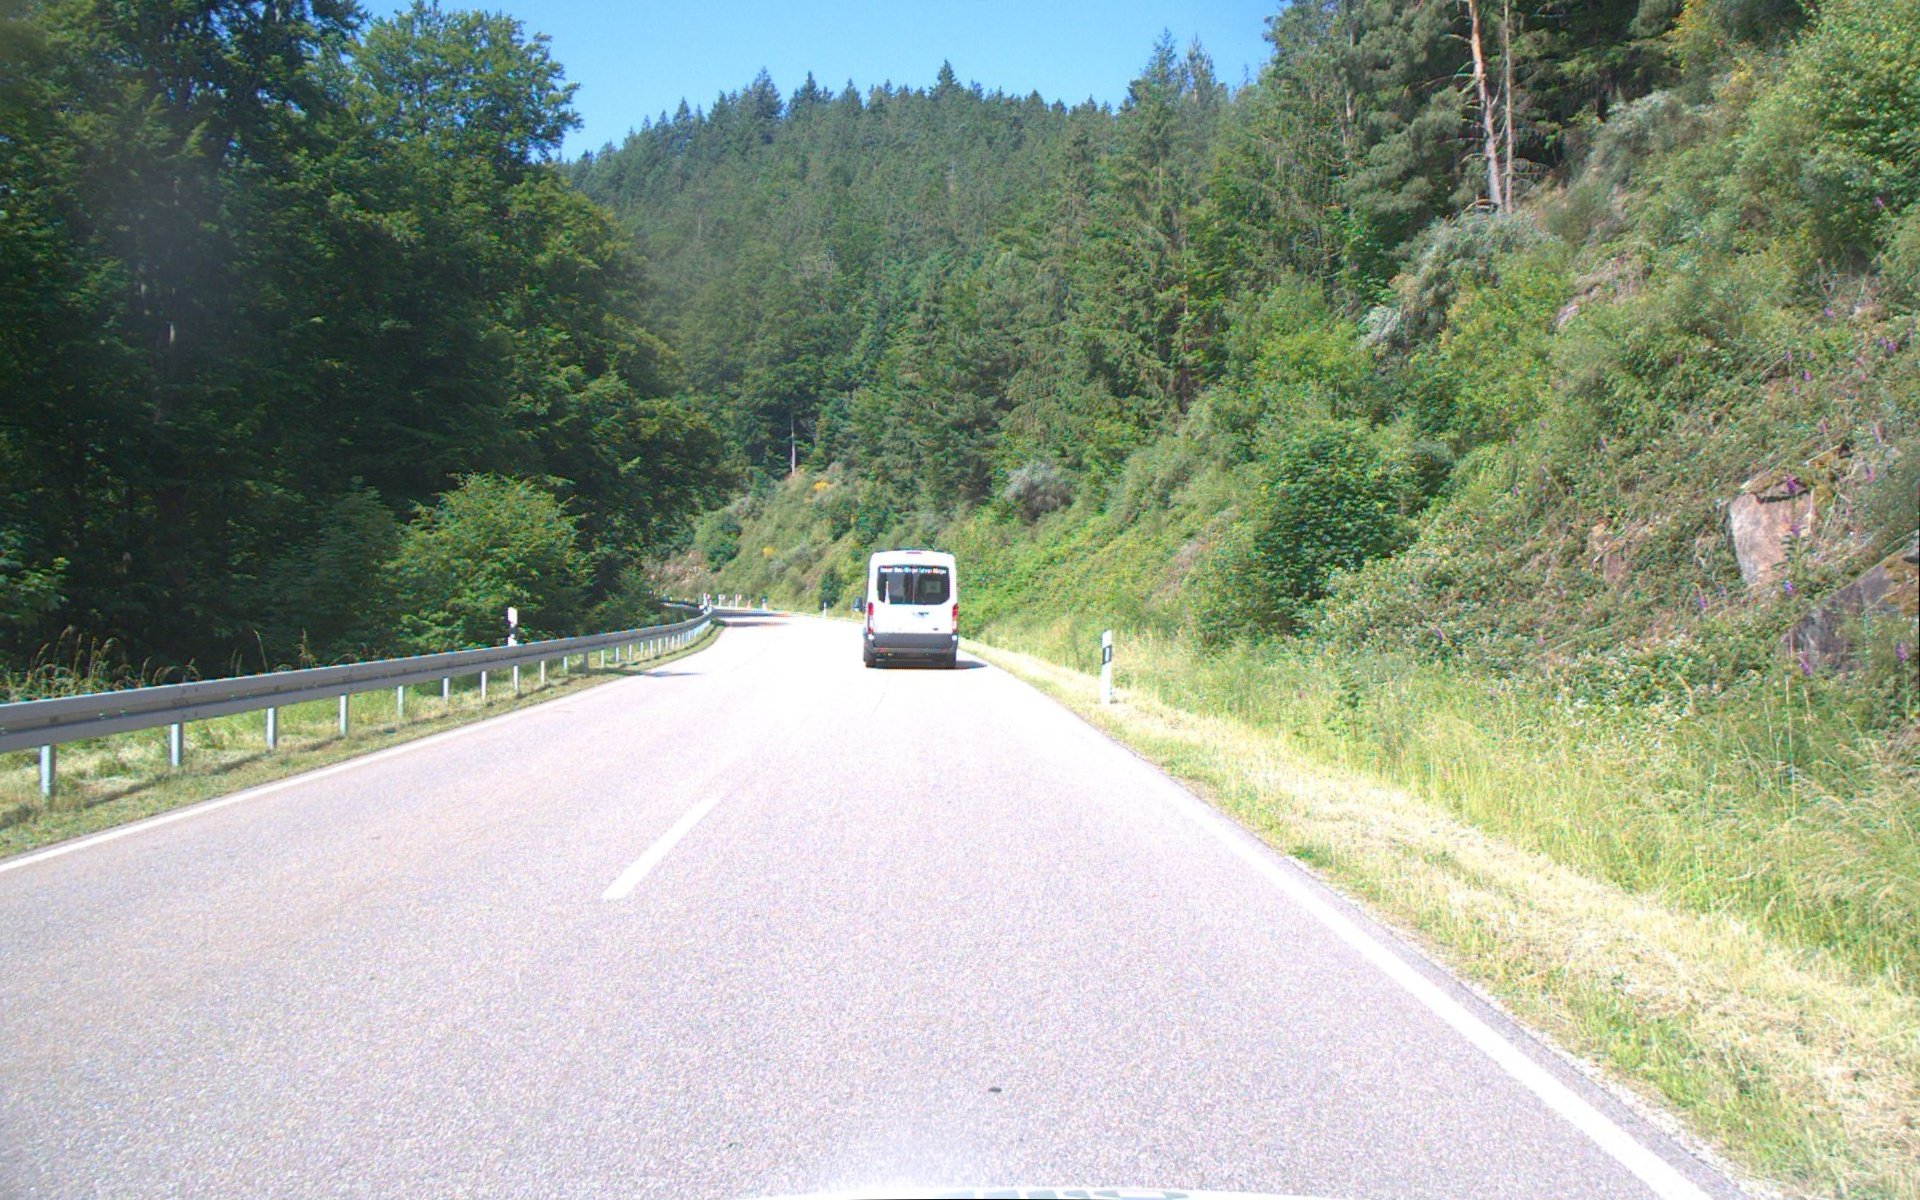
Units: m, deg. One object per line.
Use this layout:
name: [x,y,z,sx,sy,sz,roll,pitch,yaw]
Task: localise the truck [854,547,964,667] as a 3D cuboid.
truck: [-1.213,0.142,37.025,2.044,2.502,4.868,0,0,-7]
